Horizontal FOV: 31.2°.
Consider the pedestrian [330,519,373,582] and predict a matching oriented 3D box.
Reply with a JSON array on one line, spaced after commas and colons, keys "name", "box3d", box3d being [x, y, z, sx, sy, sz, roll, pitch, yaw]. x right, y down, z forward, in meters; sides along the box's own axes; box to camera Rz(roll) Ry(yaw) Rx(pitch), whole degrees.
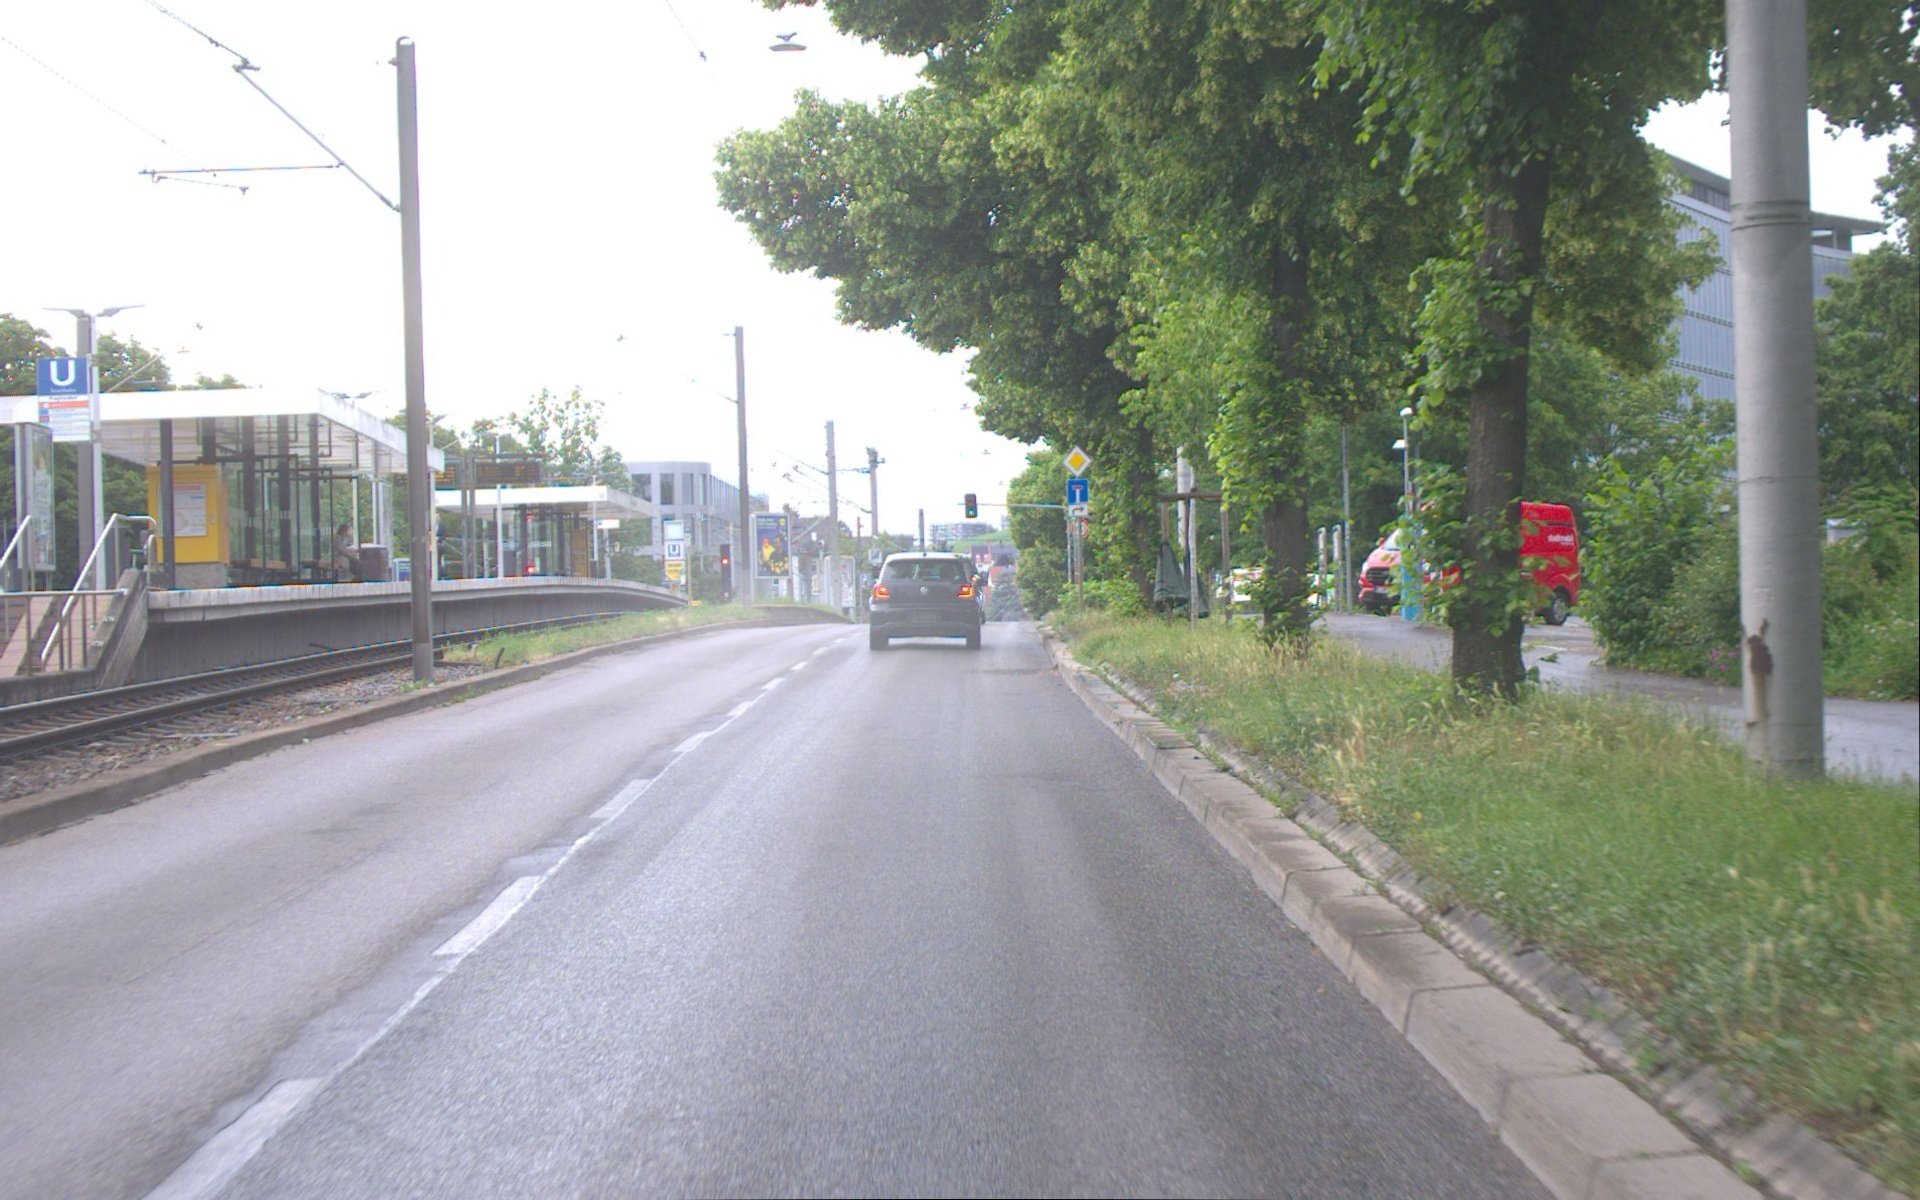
[{"name": "pedestrian", "box3d": [-11.962, -0.970, 67.574, 0.710, 1.221, 0.619, -1, 1, 1]}]

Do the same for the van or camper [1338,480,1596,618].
[{"name": "van or camper", "box3d": [9.690, -0.944, 65.377, 2.040, 2.398, 5.378, 4, 1, 43]}]

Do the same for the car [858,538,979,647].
[{"name": "car", "box3d": [-0.627, -0.149, 52.147, 1.726, 1.535, 4.000, -1, 1, 0]}]

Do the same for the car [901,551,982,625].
[{"name": "car", "box3d": [-0.385, -0.286, 75.008, 1.687, 1.512, 4.000, -1, 1, 0]}]

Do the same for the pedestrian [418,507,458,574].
[{"name": "pedestrian", "box3d": [-13.032, -1.486, 85.806, 0.794, 1.641, 0.919, 0, 2, -20]}]

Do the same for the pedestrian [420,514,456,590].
[{"name": "pedestrian", "box3d": [-13.184, -1.221, 86.782, 0.743, 1.903, 0.842, 0, 2, -20]}]
